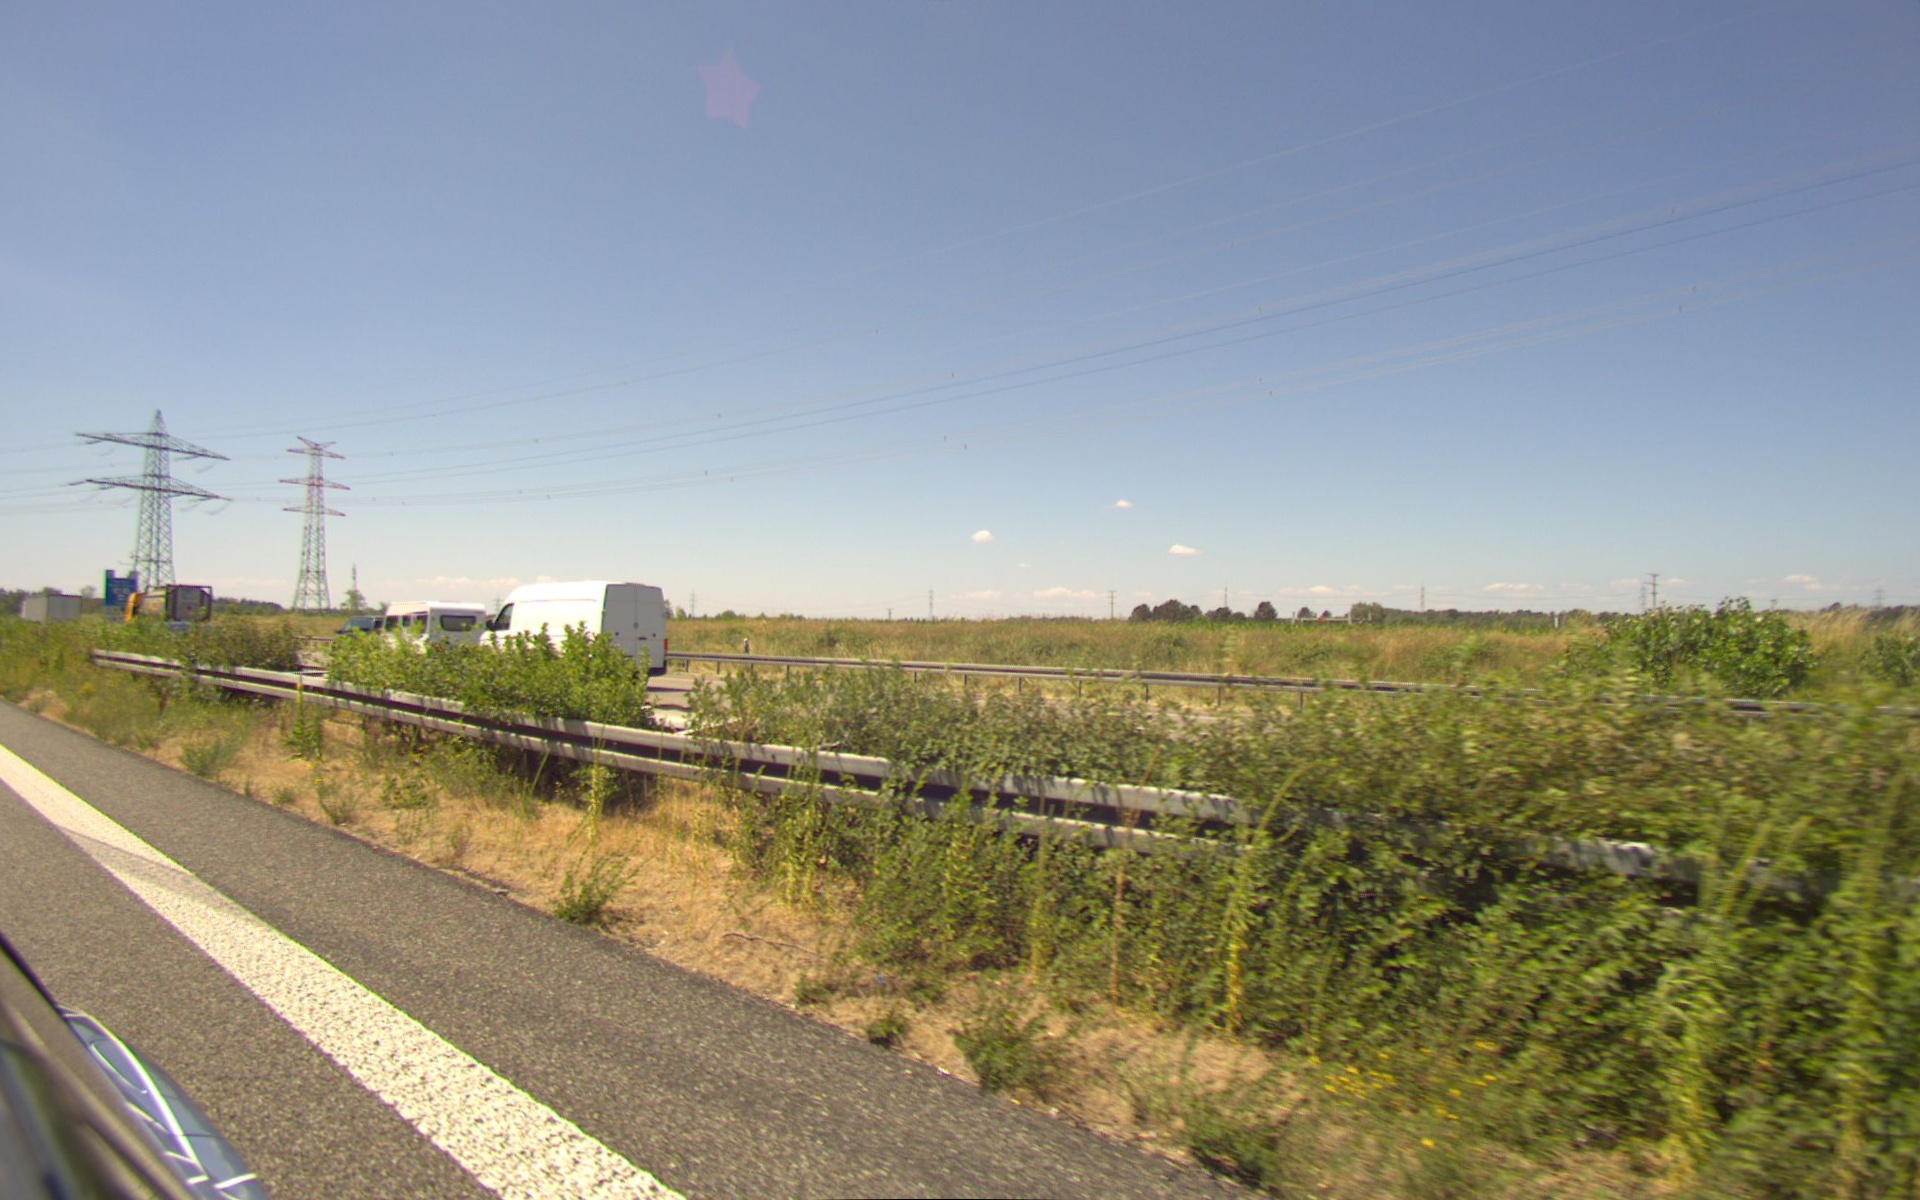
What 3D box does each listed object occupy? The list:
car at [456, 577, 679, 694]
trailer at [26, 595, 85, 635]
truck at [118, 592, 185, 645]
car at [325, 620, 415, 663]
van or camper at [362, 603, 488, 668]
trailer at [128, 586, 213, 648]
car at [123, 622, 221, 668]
[{"bbox_3d":[-10.335,0.913,26.166,7.463,2.651,2.083,-1,-4,41],"label":"car"},{"bbox_3d":[-91.009,1.517,101.667,14.233,3.858,2.740,-1,-1,41],"label":"trailer"},{"bbox_3d":[-58.668,1.367,73.405,5.642,3.756,2.697,-1,-3,40],"label":"truck"},{"bbox_3d":[-26.911,1.866,46.101,4.866,1.868,2.026,-1,-2,40],"label":"car"},{"bbox_3d":[-22.468,1.454,42.393,6.479,2.537,2.418,-1,-2,41],"label":"van or camper"},{"bbox_3d":[-54.758,1.216,70.090,9.418,4.076,2.708,-1,-3,41],"label":"trailer"},{"bbox_3d":[-27.670,1.543,35.490,4.438,1.524,1.780,-1,-2,40],"label":"car"}]
